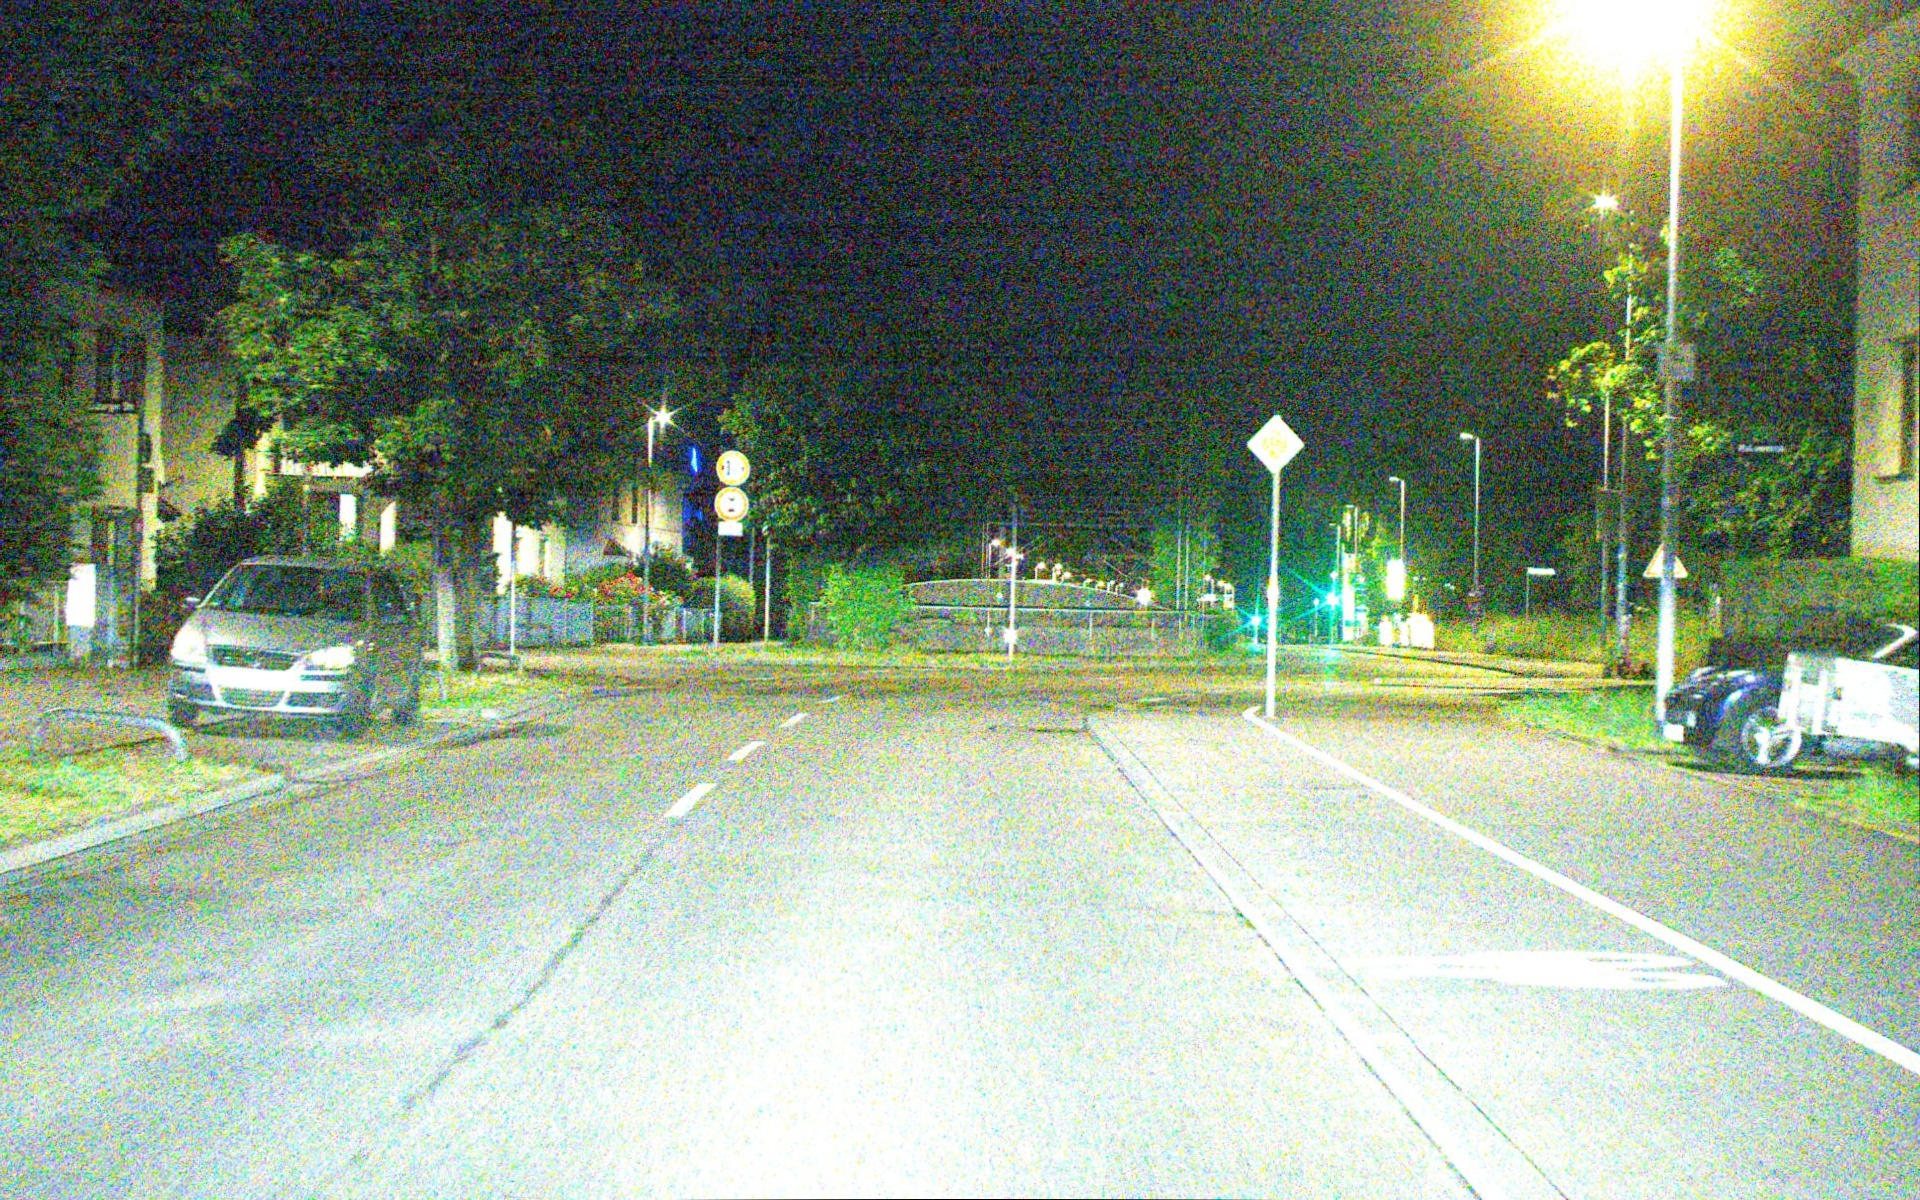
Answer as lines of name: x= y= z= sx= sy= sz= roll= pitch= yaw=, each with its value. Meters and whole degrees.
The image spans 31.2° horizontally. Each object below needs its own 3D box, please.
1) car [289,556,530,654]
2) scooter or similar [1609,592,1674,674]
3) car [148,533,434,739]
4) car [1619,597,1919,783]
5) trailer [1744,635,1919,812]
car: x=-9.543 y=0.088 z=59.675 sx=3.716 sy=1.621 sz=1.781 roll=1 pitch=0 yaw=19
scooter or similar: x=10.968 y=0.523 z=55.376 sx=0.611 sy=1.277 sz=1.690 roll=2 pitch=0 yaw=-2
car: x=-5.647 y=0.261 z=29.443 sx=1.672 sy=1.585 sz=3.987 roll=2 pitch=1 yaw=-1
car: x=6.832 y=0.689 z=25.706 sx=3.391 sy=1.228 sz=1.724 roll=3 pitch=1 yaw=-2
trailer: x=6.987 y=0.869 z=21.977 sx=3.432 sy=0.999 sz=1.954 roll=4 pitch=1 yaw=0
